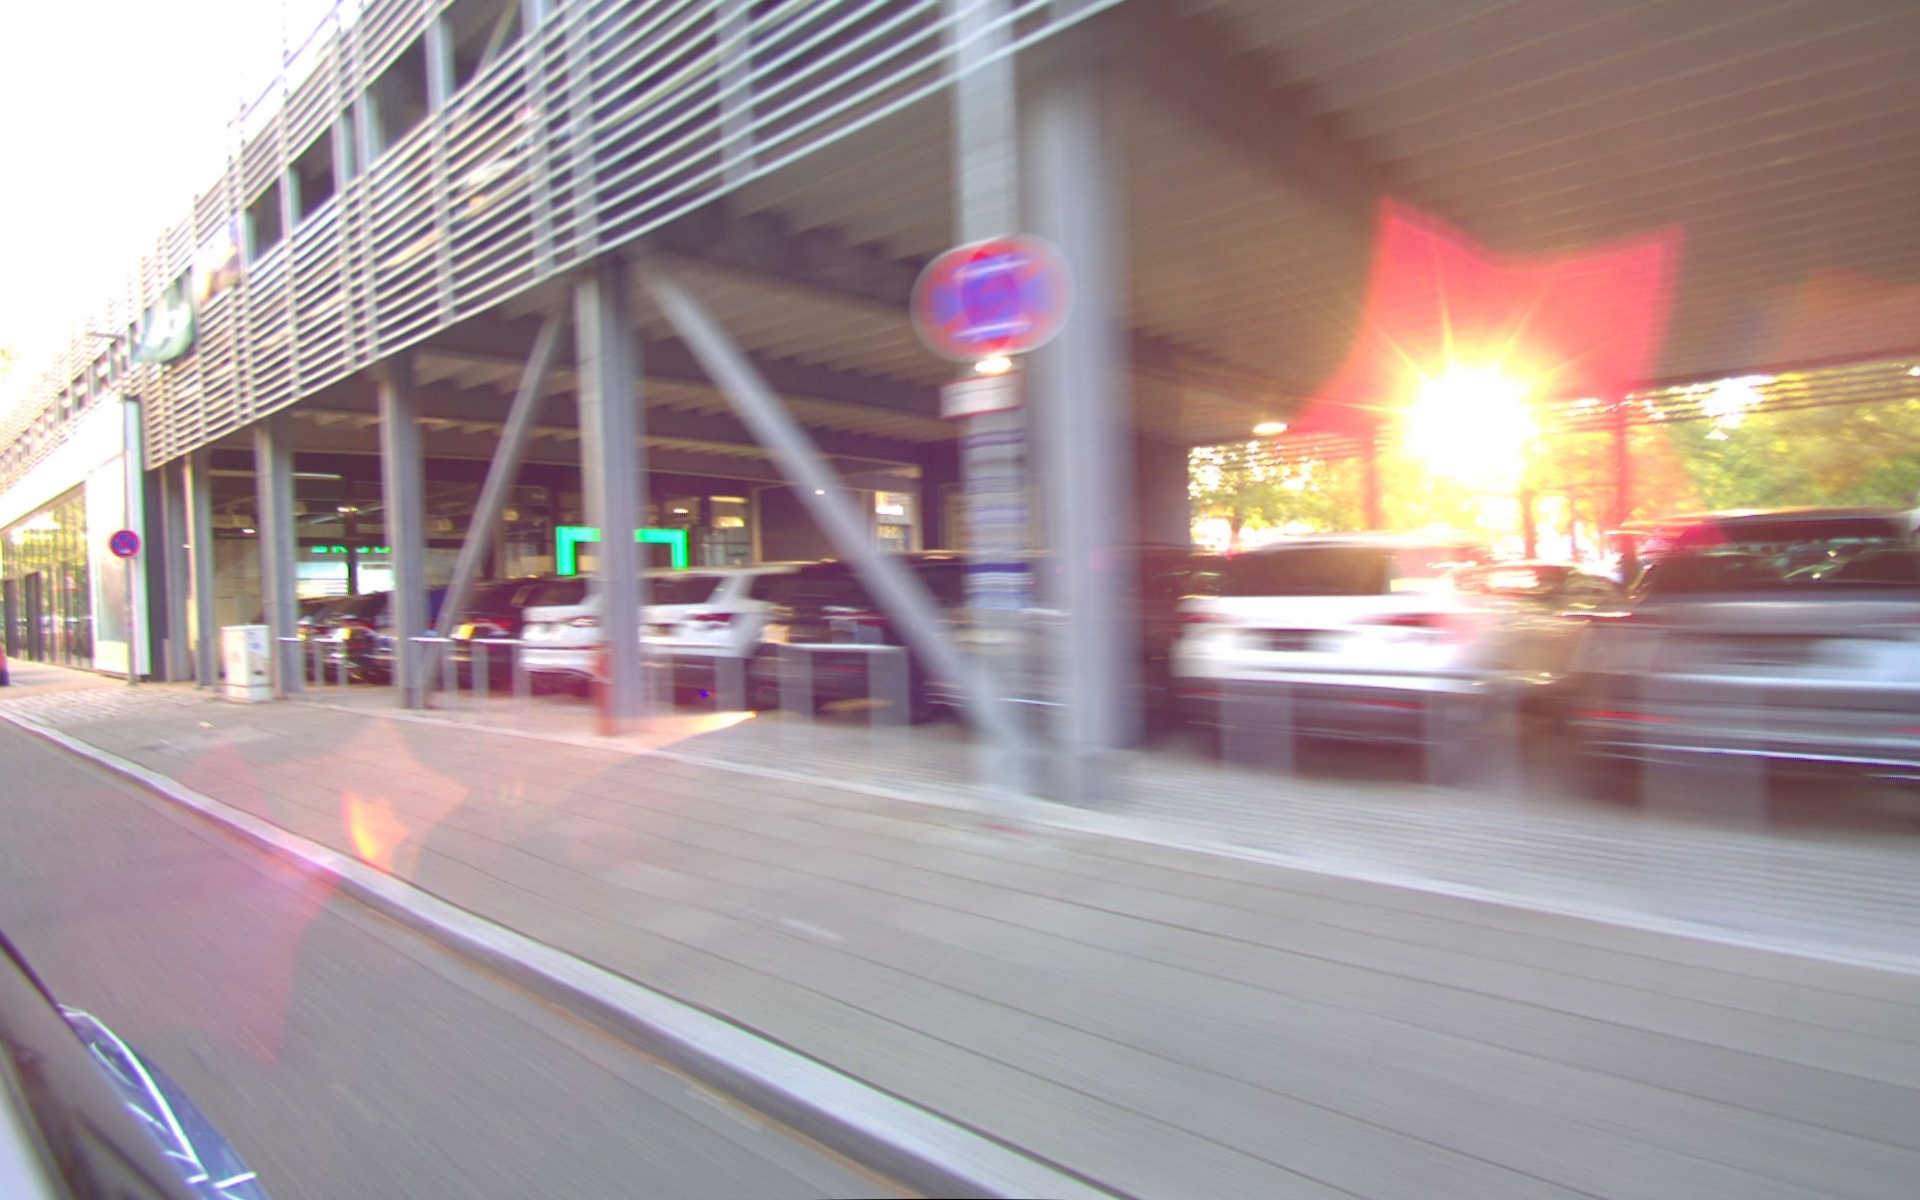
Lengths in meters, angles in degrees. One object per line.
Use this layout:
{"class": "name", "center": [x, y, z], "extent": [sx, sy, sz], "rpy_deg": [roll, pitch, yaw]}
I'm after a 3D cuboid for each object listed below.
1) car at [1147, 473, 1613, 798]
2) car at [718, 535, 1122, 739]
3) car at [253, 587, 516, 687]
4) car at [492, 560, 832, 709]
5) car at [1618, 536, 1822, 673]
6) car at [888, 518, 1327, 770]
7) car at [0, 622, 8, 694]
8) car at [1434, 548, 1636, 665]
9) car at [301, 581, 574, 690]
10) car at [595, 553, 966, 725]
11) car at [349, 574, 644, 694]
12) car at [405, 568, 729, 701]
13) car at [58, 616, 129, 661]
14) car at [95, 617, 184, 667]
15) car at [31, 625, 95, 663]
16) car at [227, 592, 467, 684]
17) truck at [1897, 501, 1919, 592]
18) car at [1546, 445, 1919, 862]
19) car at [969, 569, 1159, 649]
{"class": "car", "center": [3.281, 0.156, 7.422], "extent": [1.860, 1.696, 4.059], "rpy_deg": [-3, 0, 42]}
{"class": "car", "center": [-0.240, 0.281, 10.543], "extent": [1.860, 1.696, 4.059], "rpy_deg": [-3, 0, 42]}
{"class": "car", "center": [-11.277, 0.669, 20.038], "extent": [1.860, 1.696, 4.122], "rpy_deg": [-3, 0, 42]}
{"class": "car", "center": [-3.880, 0.367, 13.667], "extent": [1.860, 1.696, 3.983], "rpy_deg": [-3, 0, 42]}
{"class": "car", "center": [10.588, 0.028, 13.977], "extent": [1.860, 1.608, 3.992], "rpy_deg": [-3, 0, 42]}
{"class": "car", "center": [1.495, 0.269, 8.952], "extent": [1.860, 1.696, 4.059], "rpy_deg": [-3, 0, 42]}
{"class": "car", "center": [-22.320, 1.312, 22.214], "extent": [3.788, 1.517, 1.680], "rpy_deg": [-2, 0, 41]}
{"class": "car", "center": [8.958, 0.066, 15.627], "extent": [1.860, 1.570, 3.945], "rpy_deg": [-3, 0, 42]}
{"class": "car", "center": [-9.413, 0.577, 18.452], "extent": [1.860, 1.696, 3.992], "rpy_deg": [-3, 0, 42]}
{"class": "car", "center": [-1.995, 0.360, 12.117], "extent": [1.860, 1.696, 4.040], "rpy_deg": [-3, 0, 42]}
{"class": "car", "center": [-7.539, 0.484, 16.731], "extent": [1.860, 1.696, 3.992], "rpy_deg": [-3, 0, 42]}
{"class": "car", "center": [-5.763, 0.427, 15.213], "extent": [1.860, 1.696, 4.105], "rpy_deg": [-3, 0, 42]}
{"class": "car", "center": [-34.812, 1.551, 40.618], "extent": [3.874, 1.662, 1.576], "rpy_deg": [-2, 0, 41]}
{"class": "car", "center": [-27.801, 1.404, 34.245], "extent": [3.992, 1.526, 1.680], "rpy_deg": [-2, 0, 42]}
{"class": "car", "center": [-39.676, 1.921, 44.740], "extent": [3.874, 1.534, 1.576], "rpy_deg": [-2, 0, 41]}
{"class": "car", "center": [-13.008, 0.754, 21.657], "extent": [1.860, 1.696, 4.000], "rpy_deg": [-3, 0, 42]}
{"class": "truck", "center": [29.642, -1.620, 29.756], "extent": [2.441, 2.587, 6.852], "rpy_deg": [-2, 1, 38]}
{"class": "car", "center": [4.964, 0.175, 5.874], "extent": [1.860, 1.696, 4.021], "rpy_deg": [-3, 0, 42]}
{"class": "car", "center": [2.326, 0.160, 21.733], "extent": [1.860, 1.499, 4.291], "rpy_deg": [-3, 0, 42]}
